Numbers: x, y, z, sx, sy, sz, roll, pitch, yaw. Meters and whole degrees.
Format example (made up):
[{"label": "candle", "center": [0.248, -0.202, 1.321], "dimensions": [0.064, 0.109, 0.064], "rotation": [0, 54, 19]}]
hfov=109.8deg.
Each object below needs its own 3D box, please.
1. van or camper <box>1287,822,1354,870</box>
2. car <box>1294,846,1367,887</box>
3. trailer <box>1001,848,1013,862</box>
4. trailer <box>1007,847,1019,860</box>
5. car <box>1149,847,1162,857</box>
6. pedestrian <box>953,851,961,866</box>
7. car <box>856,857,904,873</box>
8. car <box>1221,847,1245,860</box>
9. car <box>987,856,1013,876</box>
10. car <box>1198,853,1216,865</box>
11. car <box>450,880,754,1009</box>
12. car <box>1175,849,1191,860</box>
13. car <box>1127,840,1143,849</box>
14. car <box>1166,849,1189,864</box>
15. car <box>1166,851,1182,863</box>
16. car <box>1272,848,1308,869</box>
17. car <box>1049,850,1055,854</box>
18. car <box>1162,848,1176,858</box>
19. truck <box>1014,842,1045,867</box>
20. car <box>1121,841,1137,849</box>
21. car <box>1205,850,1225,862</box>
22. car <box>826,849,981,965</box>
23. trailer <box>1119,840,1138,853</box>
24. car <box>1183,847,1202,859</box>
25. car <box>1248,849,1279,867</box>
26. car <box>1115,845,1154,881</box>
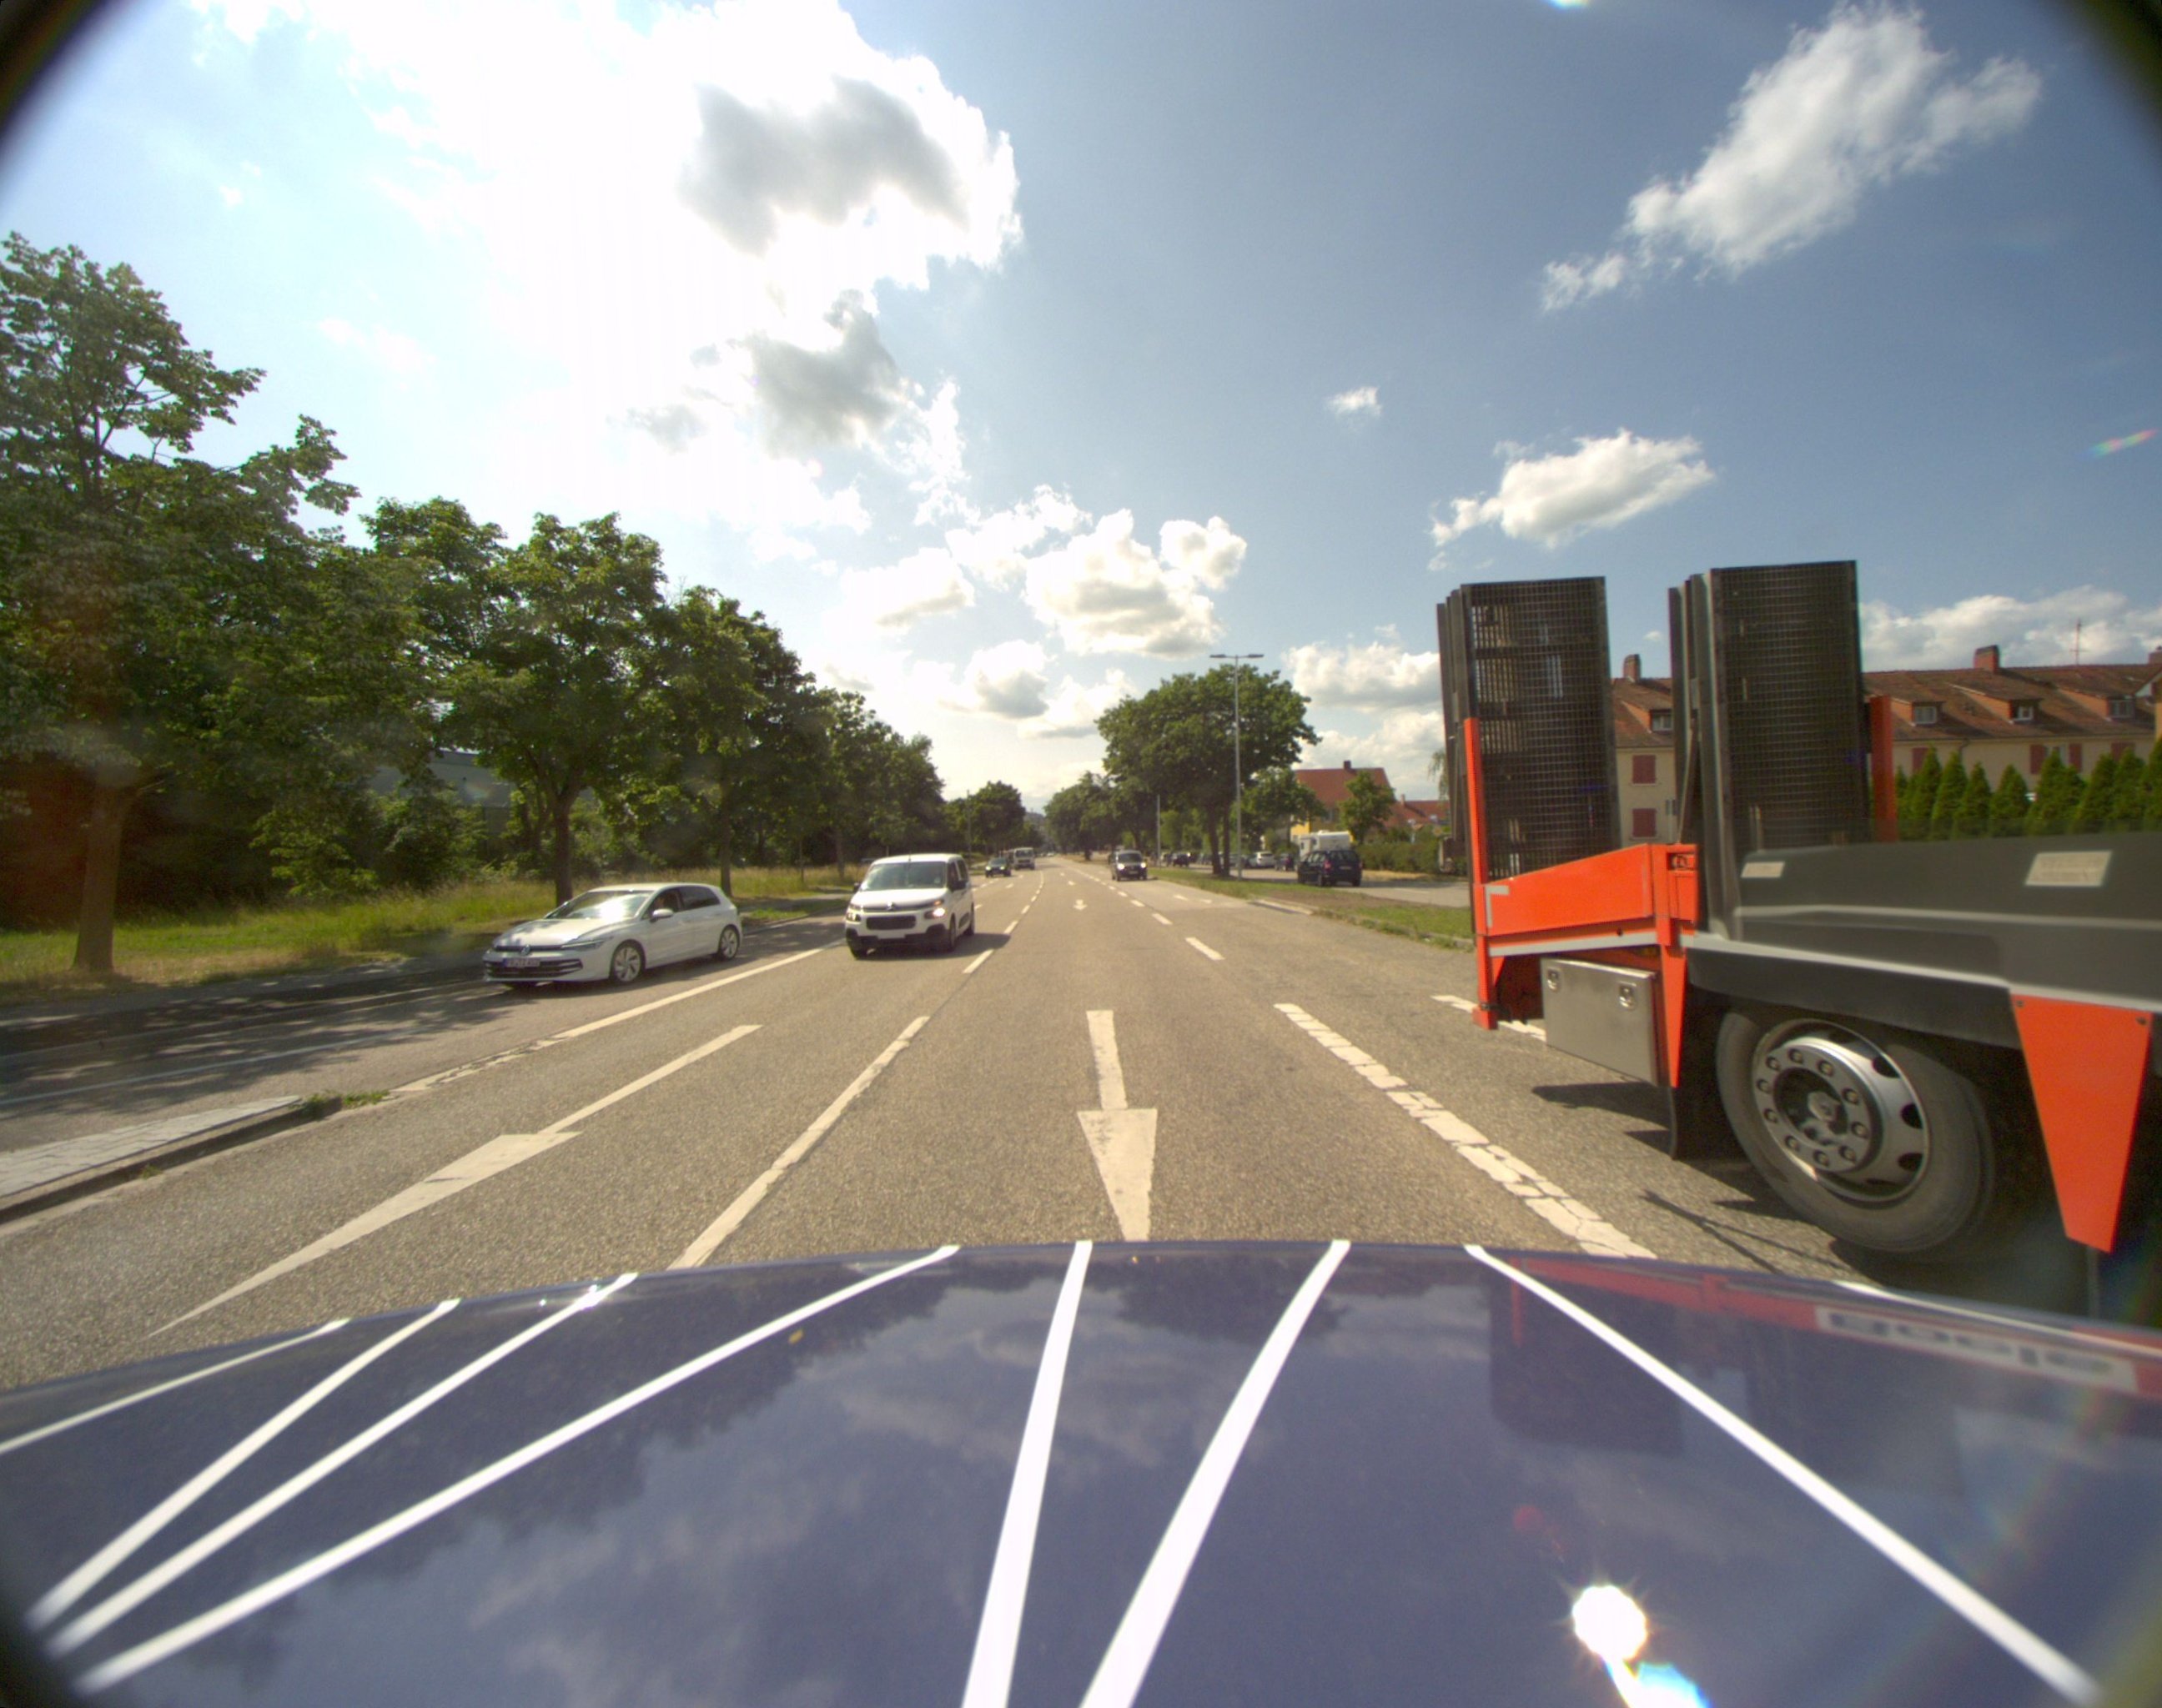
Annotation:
[{"label": "van or camper", "center": [17.224, -0.535, 55.150], "dimensions": [2.265, 3.094, 7.319], "rotation": [-4, 0, -1]}, {"label": "car", "center": [10.812, 0.493, 33.196], "dimensions": [1.799, 1.679, 3.999], "rotation": [-1, 1, -1]}, {"label": "trailer", "center": [-12.512, 0.111, 128.916], "dimensions": [1.958, 2.338, 4.603], "rotation": [0, 1, -5]}, {"label": "trailer", "center": [-13.408, -0.167, 149.713], "dimensions": [1.999, 2.352, 4.779], "rotation": [2, 1, -3]}, {"label": "car", "center": [13.480, -0.406, 137.488], "dimensions": [1.772, 1.543, 3.998], "rotation": [-4, 1, -4]}, {"label": "pedestrian", "center": [-15.185, 0.552, 93.025], "dimensions": [0.719, 1.784, 0.739], "rotation": [-4, 2, -4]}, {"label": "car", "center": [-18.894, 1.045, 71.655], "dimensions": [4.176, 1.484, 1.783], "rotation": [1, -1, -8]}, {"label": "car", "center": [16.437, -0.076, 82.202], "dimensions": [1.515, 1.362, 4.530], "rotation": [-4, 0, -1]}, {"label": "car", "center": [-7.027, 1.055, 66.338], "dimensions": [1.758, 1.482, 3.999], "rotation": [-3, 1, 1]}, {"label": "car", "center": [16.101, 0.598, 97.095], "dimensions": [1.567, 1.387, 3.475], "rotation": [-4, 1, -3]}, {"label": "car", "center": [-7.109, 1.259, 11.883], "dimensions": [1.736, 1.477, 4.094], "rotation": [-2, 0, 8]}, {"label": "car", "center": [15.201, 0.014, 113.322], "dimensions": [1.665, 1.443, 3.844], "rotation": [-4, 1, -4]}, {"label": "car", "center": [13.487, -2.317, 190.307], "dimensions": [1.800, 2.002, 4.007], "rotation": [-2, 2, 44]}, {"label": "car", "center": [10.493, 0.253, 83.255], "dimensions": [1.776, 1.430, 4.574], "rotation": [-1, 1, -2]}, {"label": "car", "center": [14.706, 0.435, 120.498], "dimensions": [1.665, 1.603, 4.312], "rotation": [-4, 1, -4]}, {"label": "car", "center": [16.988, 0.364, 61.949], "dimensions": [1.640, 1.477, 3.991], "rotation": [-4, 1, -1]}, {"label": "car", "center": [-9.430, -0.733, 248.117], "dimensions": [1.892, 1.281, 3.998], "rotation": [-4, 1, -4]}, {"label": "car", "center": [14.689, -0.171, 126.612], "dimensions": [1.598, 1.453, 3.533], "rotation": [-4, 1, -4]}, {"label": "truck", "center": [-5.987, 0.004, 89.734], "dimensions": [2.848, 2.649, 7.350], "rotation": [-3, 1, 1]}, {"label": "car", "center": [12.454, -2.367, 198.215], "dimensions": [1.800, 2.002, 4.007], "rotation": [-2, 2, 44]}, {"label": "car", "center": [16.354, 0.241, 92.711], "dimensions": [1.406, 1.387, 4.355], "rotation": [-4, 1, -3]}, {"label": "car", "center": [-3.216, 0.866, 14.807], "dimensions": [1.936, 1.775, 4.714], "rotation": [-4, 0, -2]}, {"label": "trailer", "center": [13.460, -2.127, 215.151], "dimensions": [2.821, 3.090, 5.763], "rotation": [-3, 1, 35]}, {"label": "car", "center": [15.418, -0.132, 105.500], "dimensions": [1.665, 1.473, 4.102], "rotation": [-4, 0, -4]}, {"label": "car", "center": [16.873, 0.316, 70.436], "dimensions": [1.693, 1.477, 4.122], "rotation": [-4, 1, -1]}, {"label": "car", "center": [3.105, 0.466, 44.959], "dimensions": [1.768, 1.893, 4.539], "rotation": [-4, 1, -1]}]
